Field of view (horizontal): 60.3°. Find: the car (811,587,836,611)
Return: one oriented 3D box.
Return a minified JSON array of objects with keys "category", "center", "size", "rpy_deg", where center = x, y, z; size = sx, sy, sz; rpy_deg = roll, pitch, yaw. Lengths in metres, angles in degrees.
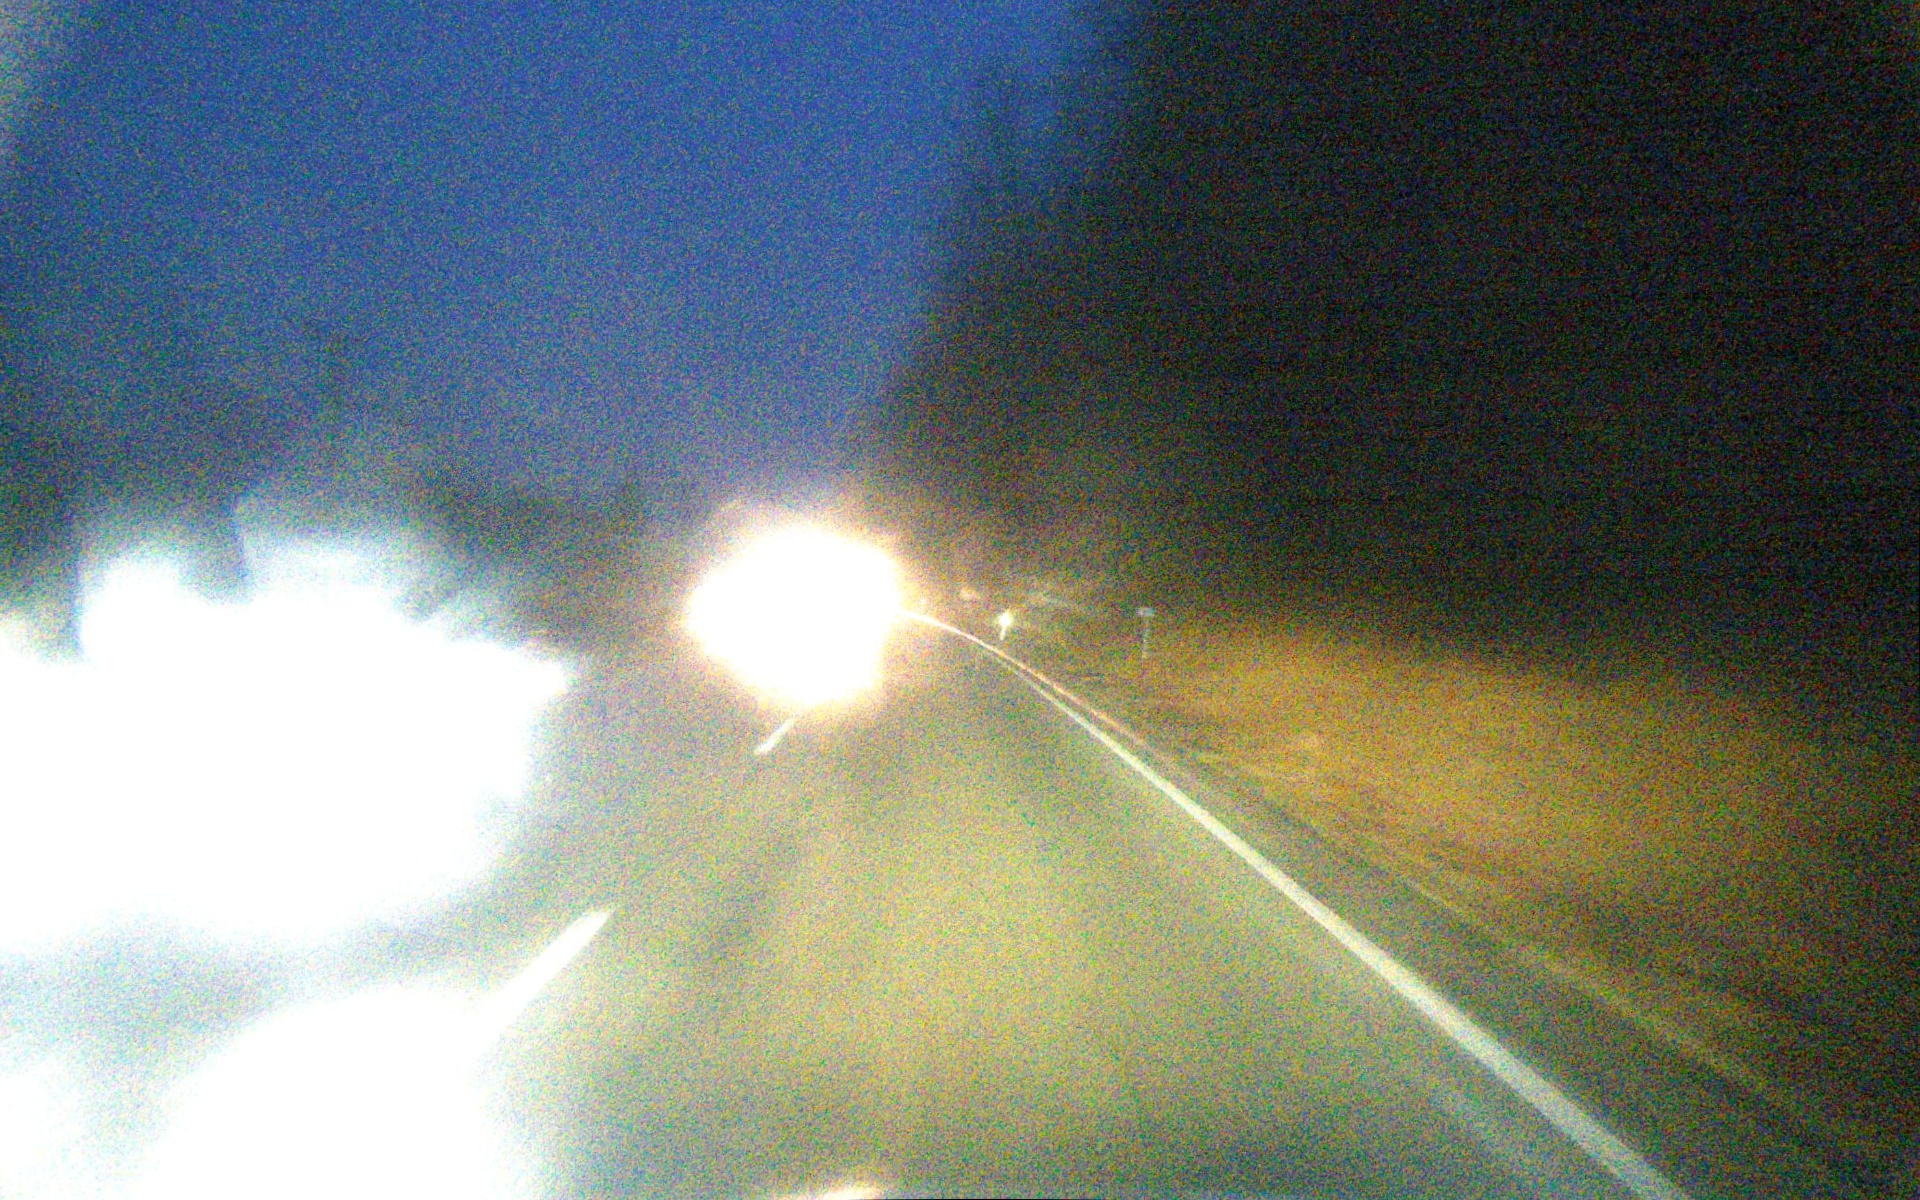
[{"category":"car","center":[-10.080,-0.075,122.229],"size":[1.737,1.704,4.051],"rpy_deg":[2,0,-5]}]

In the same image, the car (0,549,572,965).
[{"category":"car","center":[-3.225,0.603,8.294],"size":[1.781,1.582,3.869],"rpy_deg":[0,0,-2]}]
